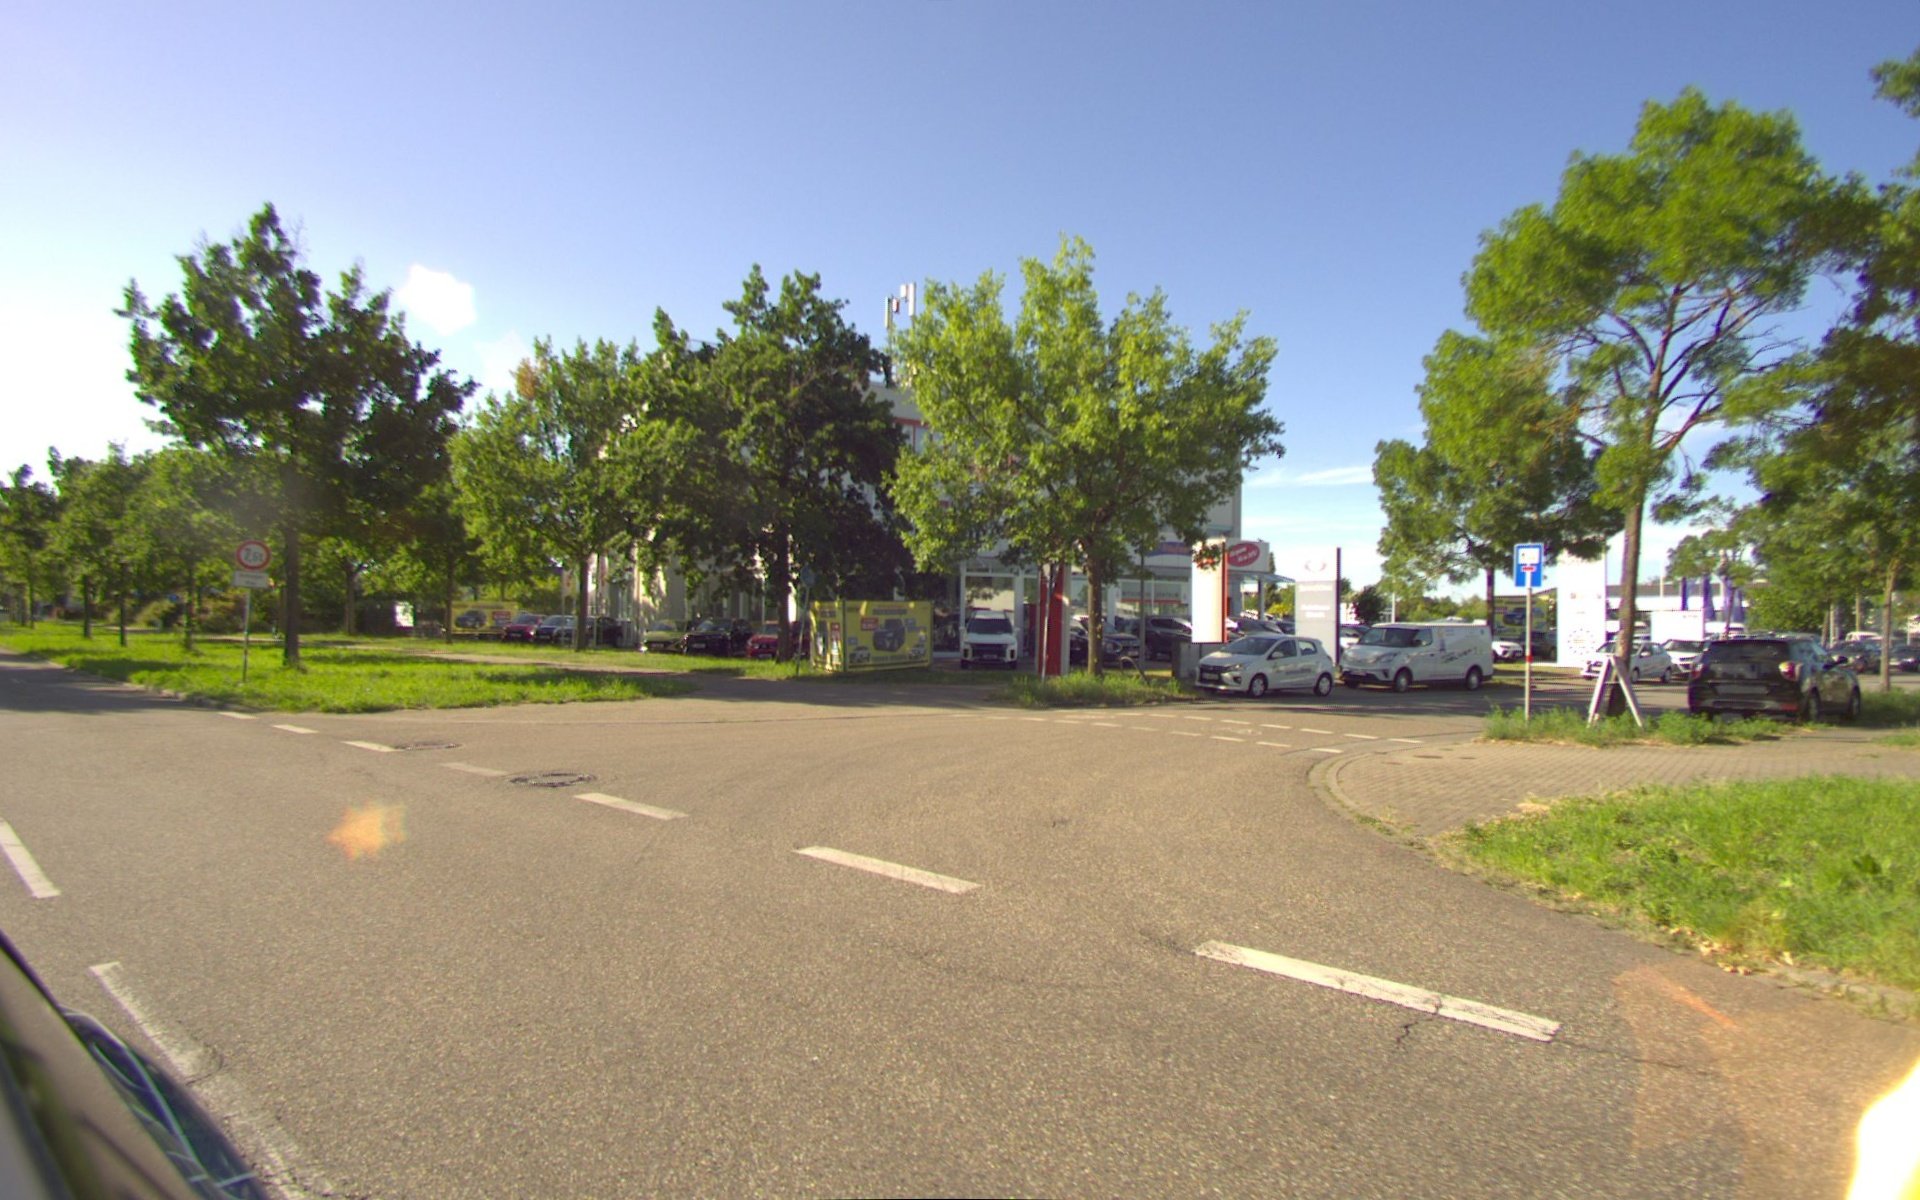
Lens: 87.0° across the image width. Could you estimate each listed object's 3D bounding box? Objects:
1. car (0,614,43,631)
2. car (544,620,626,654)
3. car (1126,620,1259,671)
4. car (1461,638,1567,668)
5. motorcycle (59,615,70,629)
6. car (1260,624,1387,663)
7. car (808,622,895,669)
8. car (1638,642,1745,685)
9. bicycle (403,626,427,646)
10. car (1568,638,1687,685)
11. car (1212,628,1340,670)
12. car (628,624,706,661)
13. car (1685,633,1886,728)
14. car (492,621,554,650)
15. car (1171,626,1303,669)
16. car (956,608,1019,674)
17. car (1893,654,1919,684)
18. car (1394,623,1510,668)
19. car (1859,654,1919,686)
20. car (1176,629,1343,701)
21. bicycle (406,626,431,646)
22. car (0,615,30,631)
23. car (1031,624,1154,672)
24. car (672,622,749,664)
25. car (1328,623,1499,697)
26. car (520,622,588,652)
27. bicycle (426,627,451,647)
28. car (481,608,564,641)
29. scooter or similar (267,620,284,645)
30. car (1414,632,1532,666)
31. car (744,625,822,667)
[{"bbox_3d":[-87.783,2.082,93.284,2.191,1.570,4.578,-1,-1,41],"label":"car"},{"bbox_3d":[-17.996,1.775,48.761,1.784,1.523,3.982,-1,-2,14],"label":"car"},{"bbox_3d":[8.833,1.684,38.828,1.967,1.826,4.883,2,-2,-36],"label":"car"},{"bbox_3d":[31.369,2.951,57.412,1.967,1.574,4.882,2,-2,-37],"label":"car"},{"bbox_3d":[-98.705,2.411,111.531,0.729,1.443,1.993,-3,1,-44],"label":"motorcycle"},{"bbox_3d":[15.540,1.827,43.513,1.967,1.574,4.882,2,-2,-37],"label":"car"},{"bbox_3d":[-3.821,1.598,36.367,1.979,1.574,4.155,0,-2,11],"label":"car"},{"bbox_3d":[27.884,2.385,38.563,3.931,1.523,1.806,1,-2,-30],"label":"car"},{"bbox_3d":[-31.024,2.047,57.598,1.891,1.096,0.632,-1,-2,43],"label":"bicycle"},{"bbox_3d":[23.628,2.141,35.823,3.931,1.523,1.807,0,-2,-28],"label":"car"},{"bbox_3d":[13.099,1.996,42.188,1.967,1.604,4.882,2,-2,-37],"label":"car"},{"bbox_3d":[-12.010,1.722,41.723,1.973,1.412,3.951,0,-2,1],"label":"car"},{"bbox_3d":[15.118,1.401,18.507,3.619,1.544,1.827,2,-2,-33],"label":"car"},{"bbox_3d":[-22.969,1.863,53.366,1.774,1.459,4.004,1,-2,-5],"label":"car"},{"bbox_3d":[10.883,1.845,40.089,1.967,1.574,4.882,2,-2,-37],"label":"car"},{"bbox_3d":[0.914,1.355,34.262,1.973,2.029,4.856,0,-2,1],"label":"car"},{"bbox_3d":[52.777,3.722,55.085,3.931,1.523,1.806,1,-2,-30],"label":"car"},{"bbox_3d":[18.286,1.653,37.511,4.793,1.574,2.004,2,-2,-38],"label":"car"},{"bbox_3d":[49.052,3.651,52.969,3.931,1.523,1.806,1,-2,-30],"label":"car"},{"bbox_3d":[7.365,1.538,24.839,3.690,1.630,1.969,1,-2,-31],"label":"car"},{"bbox_3d":[-30.210,2.017,56.406,1.891,1.096,0.632,-1,-2,43],"label":"bicycle"},{"bbox_3d":[-102.457,2.475,108.298,4.360,1.568,2.090,0,-1,-43],"label":"car"},{"bbox_3d":[4.628,1.659,35.822,1.967,1.583,4.179,2,-2,-37],"label":"car"},{"bbox_3d":[-9.582,1.638,39.228,1.870,1.550,4.168,0,-2,1],"label":"car"},{"bbox_3d":[12.891,1.647,28.663,4.940,1.921,1.947,2,-2,-31],"label":"car"},{"bbox_3d":[-20.340,1.837,50.842,1.776,1.459,3.999,1,-2,0],"label":"car"},{"bbox_3d":[-29.318,2.048,56.918,1.891,1.096,0.632,-1,-2,43],"label":"bicycle"},{"bbox_3d":[-24.728,1.371,57.202,3.964,1.797,2.030,0,-1,-36],"label":"car"},{"bbox_3d":[-35.954,1.693,53.156,1.441,1.289,0.390,-1,-2,44],"label":"scooter or similar"},{"bbox_3d":[25.447,2.413,50.354,1.967,1.574,4.882,2,-2,-37],"label":"car"},{"bbox_3d":[-6.637,1.703,38.458,1.974,1.502,4.164,0,-2,4],"label":"car"}]
